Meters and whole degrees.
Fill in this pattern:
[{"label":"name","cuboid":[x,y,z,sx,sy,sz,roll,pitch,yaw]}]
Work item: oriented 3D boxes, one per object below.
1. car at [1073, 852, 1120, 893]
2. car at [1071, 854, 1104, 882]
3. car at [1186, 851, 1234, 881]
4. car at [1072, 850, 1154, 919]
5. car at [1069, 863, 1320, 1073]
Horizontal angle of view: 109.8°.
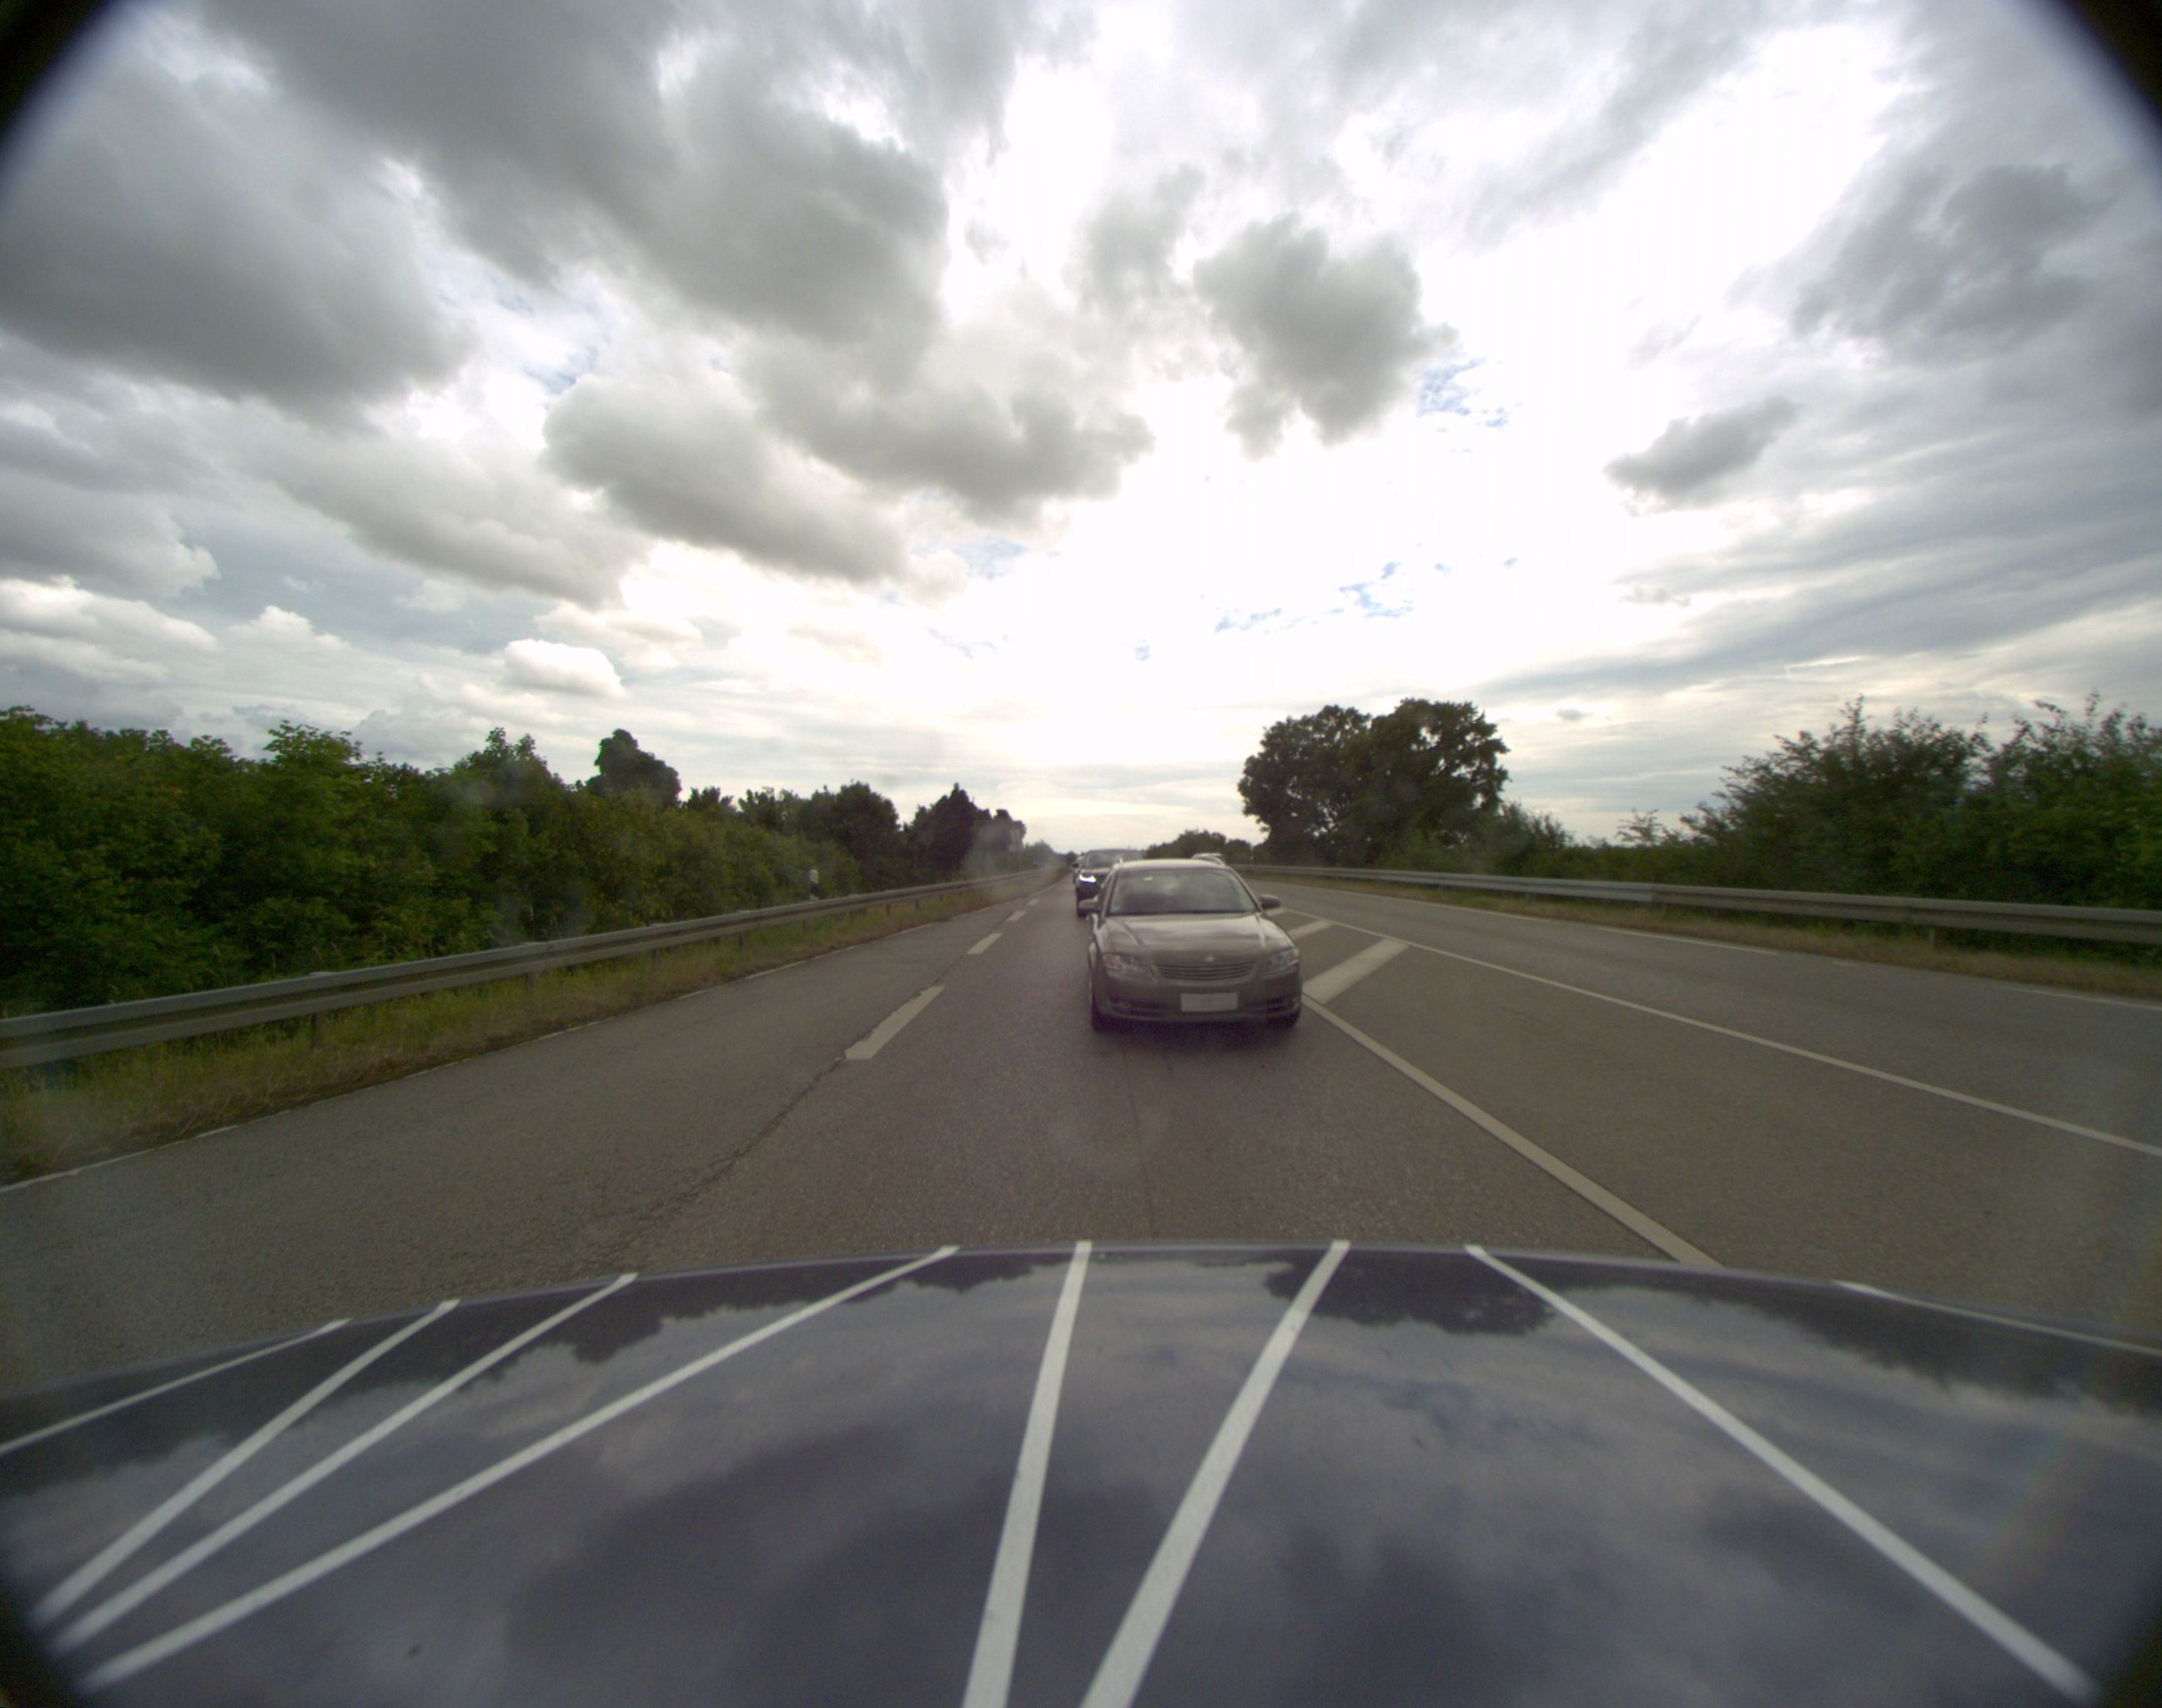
[{"label":"car","cuboid":[0.629,0.728,31.812,1.834,1.537,4.035,-1,0,1]},{"label":"car","cuboid":[0.390,0.797,44.974,1.834,1.537,4.035,-1,0,1]},{"label":"car","cuboid":[6.469,0.582,38.575,1.825,1.366,4.611,-2,1,2]},{"label":"car","cuboid":[0.752,0.708,19.419,1.834,1.537,4.035,-1,0,1]},{"label":"car","cuboid":[0.846,0.853,7.529,1.784,1.442,4.035,-1,0,1]}]
